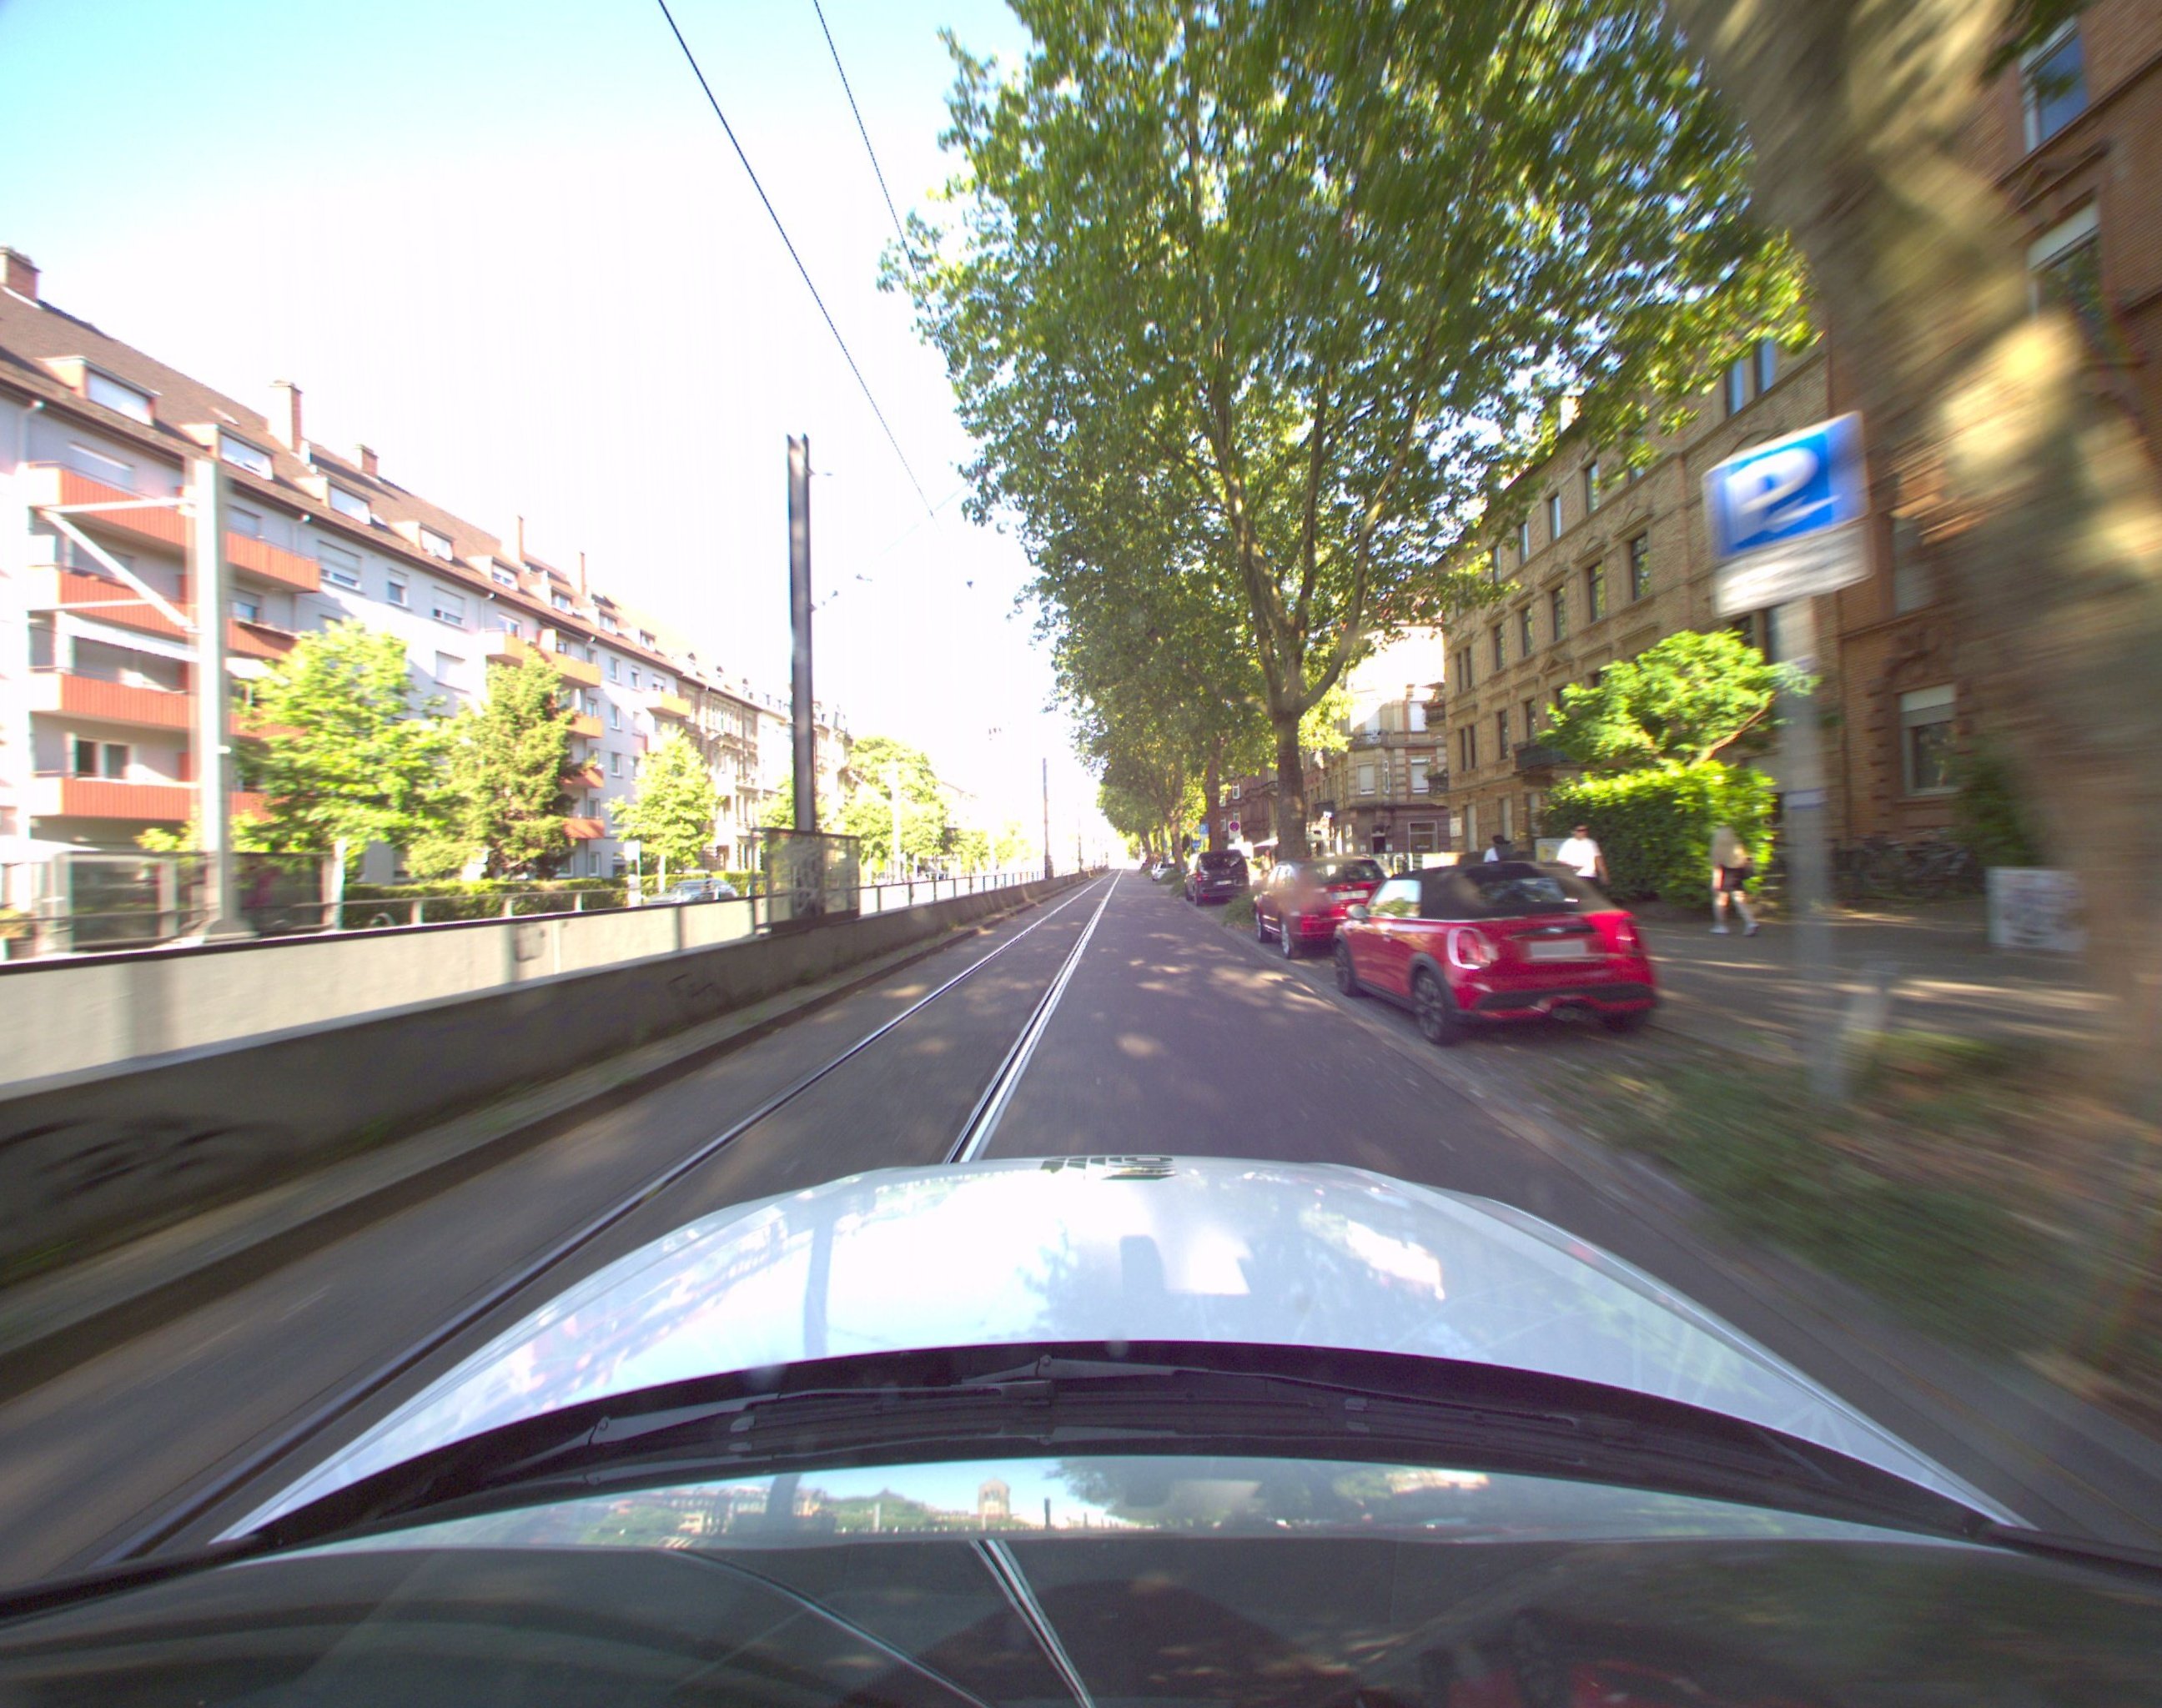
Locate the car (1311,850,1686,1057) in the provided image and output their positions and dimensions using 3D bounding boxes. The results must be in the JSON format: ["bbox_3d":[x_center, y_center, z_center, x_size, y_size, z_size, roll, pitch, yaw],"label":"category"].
[{"bbox_3d":[3.676,0.780,8.088,1.708,1.462,4.001,-3,-1,2],"label":"car"}]

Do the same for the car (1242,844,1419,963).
[{"bbox_3d":[4.019,0.739,13.927,1.707,1.549,4.503,-5,-1,3],"label":"car"}]

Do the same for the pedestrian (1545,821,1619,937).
[{"bbox_3d":[8.085,0.393,13.170,0.686,1.785,0.644,-4,1,1],"label":"pedestrian"}]

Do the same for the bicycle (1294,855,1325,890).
[{"bbox_3d":[8.102,0.663,28.987,0.558,1.178,2.023,-3,-1,2],"label":"bicycle"}]

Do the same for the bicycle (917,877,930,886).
[{"bbox_3d":[-16.575,2.863,85.852,1.272,0.905,0.534,-1,0,-28],"label":"bicycle"}]

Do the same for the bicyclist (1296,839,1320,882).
[{"bbox_3d":[8.076,0.224,28.970,0.567,1.487,0.644,-4,0,2],"label":"bicyclist"}]

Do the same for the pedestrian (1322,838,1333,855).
[{"bbox_3d":[17.073,-0.548,56.316,0.554,1.138,0.526,-4,-1,2],"label":"pedestrian"}]

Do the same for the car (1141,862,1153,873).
[{"bbox_3d":[10.665,2.167,132.116,1.610,1.587,4.420,-5,-1,2],"label":"car"}]

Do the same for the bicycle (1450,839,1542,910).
[{"bbox_3d":[7.458,0.321,14.755,0.558,1.178,2.227,-2,1,2],"label":"bicycle"}]

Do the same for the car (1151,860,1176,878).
[{"bbox_3d":[6.788,1.250,67.681,1.822,1.326,4.003,-4,0,3],"label":"car"}]

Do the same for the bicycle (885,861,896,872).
[{"bbox_3d":[-20.188,1.309,86.352,0.553,1.098,2.378,-1,0,3],"label":"bicycle"}]

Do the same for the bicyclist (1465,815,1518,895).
[{"bbox_3d":[7.429,0.021,14.754,0.541,1.380,0.644,-4,1,1],"label":"bicyclist"}]

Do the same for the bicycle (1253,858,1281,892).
[{"bbox_3d":[6.625,0.736,29.150,0.558,1.178,2.227,-1,-1,2],"label":"bicycle"}]

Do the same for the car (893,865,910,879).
[{"bbox_3d":[-25.160,2.504,114.443,1.993,1.849,4.467,-1,0,-9],"label":"car"}]

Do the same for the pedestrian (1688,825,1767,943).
[{"bbox_3d":[9.401,0.419,11.858,0.528,1.627,0.618,-6,1,3],"label":"pedestrian"}]

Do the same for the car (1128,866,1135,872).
[{"bbox_3d":[14.182,4.257,229.881,1.738,1.462,3.646,-1,0,2],"label":"car"}]

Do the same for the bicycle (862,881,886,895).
[{"bbox_3d":[-17.665,2.883,69.499,1.799,1.178,0.563,-1,0,5],"label":"bicycle"}]

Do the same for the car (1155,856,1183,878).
[{"bbox_3d":[6.702,0.978,62.456,1.795,1.477,4.649,-4,0,3],"label":"car"}]

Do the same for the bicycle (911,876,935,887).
[{"bbox_3d":[-16.511,2.886,85.233,2.381,1.098,0.552,-1,0,-28],"label":"bicycle"}]

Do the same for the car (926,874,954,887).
[{"bbox_3d":[-20.705,3.882,119.701,3.982,1.624,1.821,-2,0,-6],"label":"car"}]

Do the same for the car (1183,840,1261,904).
[{"bbox_3d":[5.089,0.595,30.148,1.986,2.013,5.204,-5,0,2],"label":"car"}]

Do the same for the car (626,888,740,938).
[{"bbox_3d":[-14.824,2.146,30.649,1.963,1.504,4.411,-1,0,2],"label":"car"}]

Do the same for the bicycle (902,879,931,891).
[{"bbox_3d":[-16.325,3.074,80.746,2.795,1.098,0.637,-1,0,-30],"label":"bicycle"}]

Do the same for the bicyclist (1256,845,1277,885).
[{"bbox_3d":[6.624,0.388,29.084,0.567,1.380,0.644,-2,-1,2],"label":"bicyclist"}]

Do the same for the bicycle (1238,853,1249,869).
[{"bbox_3d":[12.713,0.546,63.775,0.473,1.143,1.897,-6,0,3],"label":"bicycle"}]
